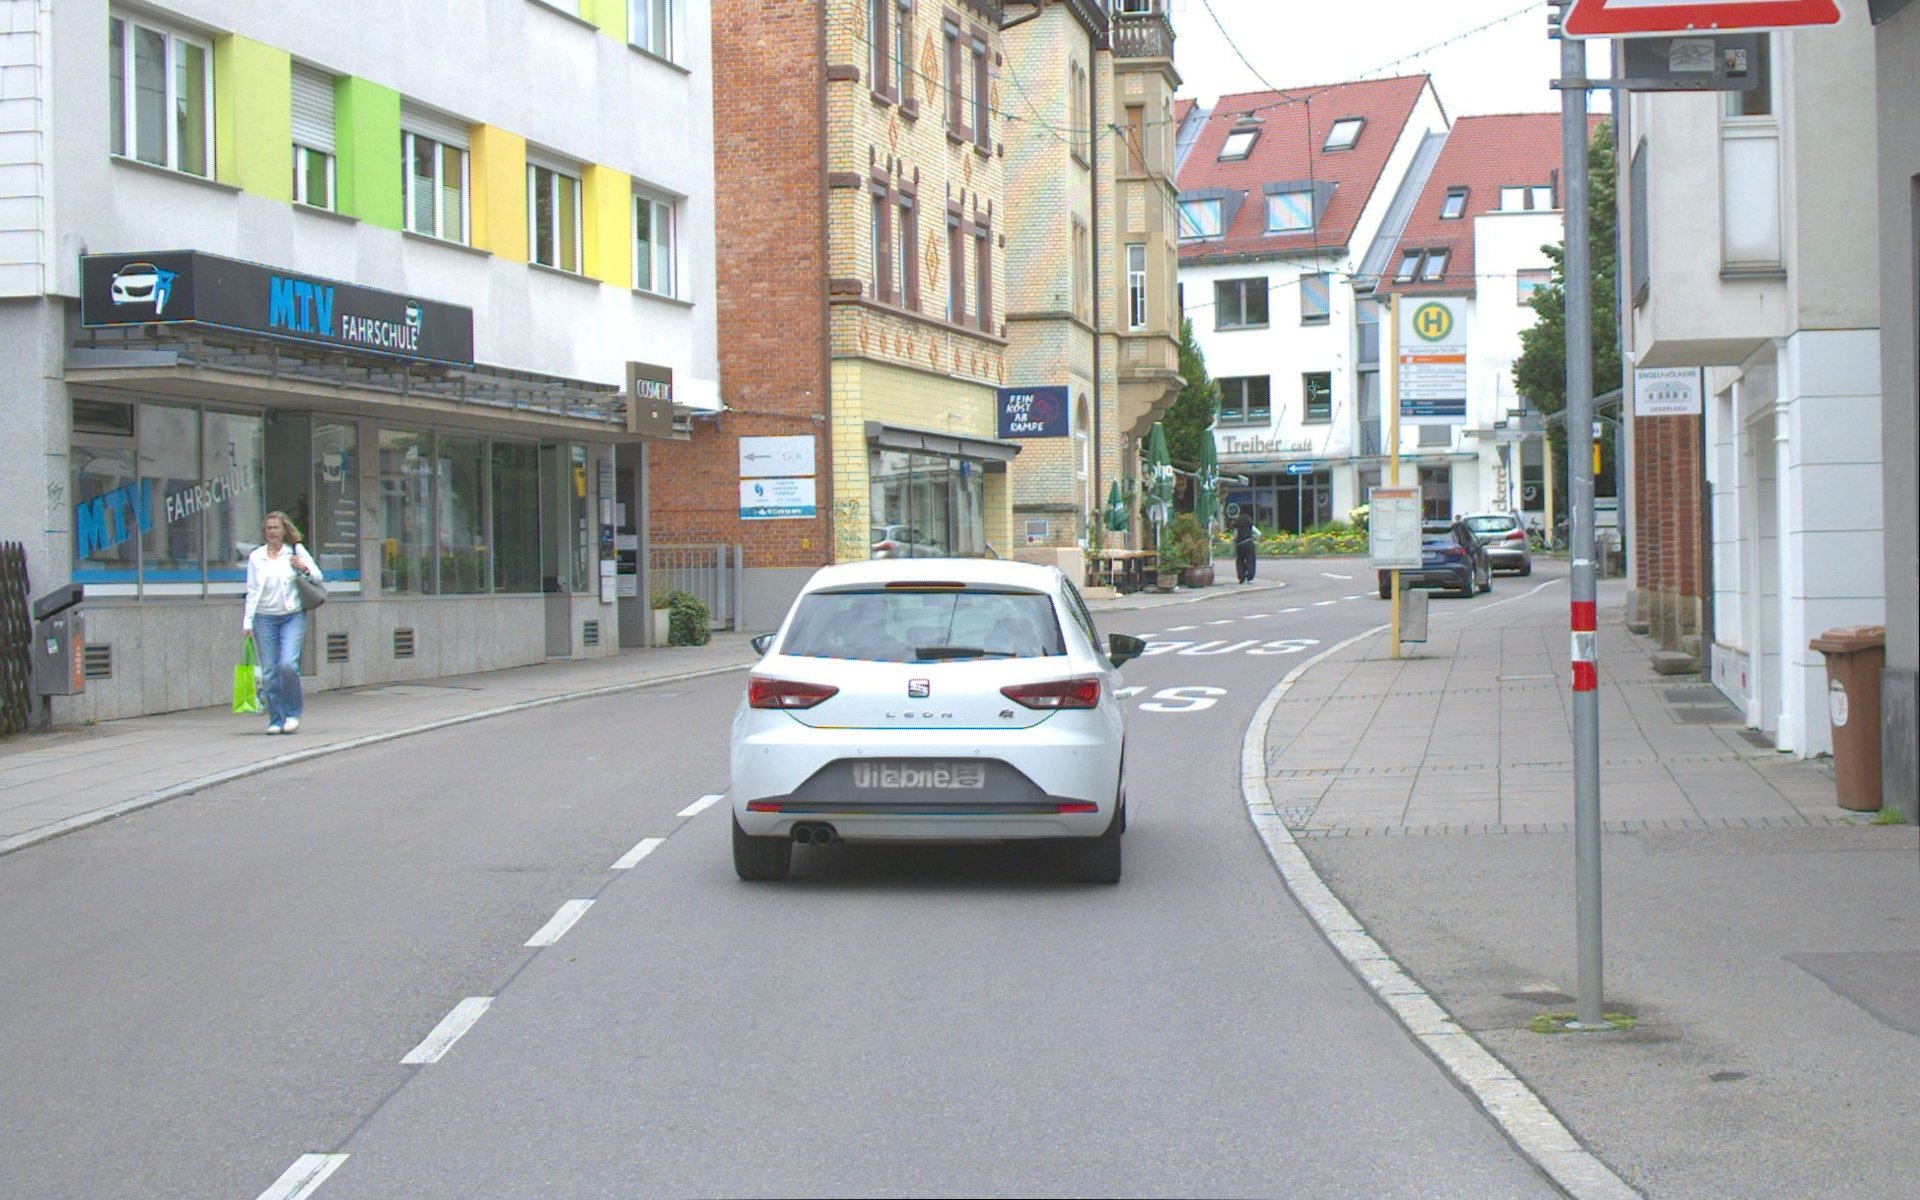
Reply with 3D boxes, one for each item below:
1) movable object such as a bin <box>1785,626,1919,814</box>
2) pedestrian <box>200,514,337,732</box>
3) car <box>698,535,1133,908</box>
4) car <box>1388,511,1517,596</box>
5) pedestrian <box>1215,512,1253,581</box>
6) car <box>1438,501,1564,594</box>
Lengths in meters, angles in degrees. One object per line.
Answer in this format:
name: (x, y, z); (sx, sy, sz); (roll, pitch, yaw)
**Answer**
movable object such as a bin: (4.566, 0.605, 17.512); (0.619, 0.918, 0.581); (-1, 1, 5)
pedestrian: (-5.378, 0.166, 26.775); (0.892, 1.659, 0.861); (-1, 1, -2)
car: (-0.103, 0.478, 16.443); (1.811, 1.475, 3.870); (-1, 2, 3)
car: (9.292, -0.898, 64.596); (1.813, 1.475, 3.868); (0, 2, 17)
pedestrian: (6.259, -1.222, 78.535); (0.834, 1.546, 0.627); (-1, 1, 7)
car: (12.133, -1.193, 76.877); (1.995, 2.007, 3.996); (-1, 1, 21)
